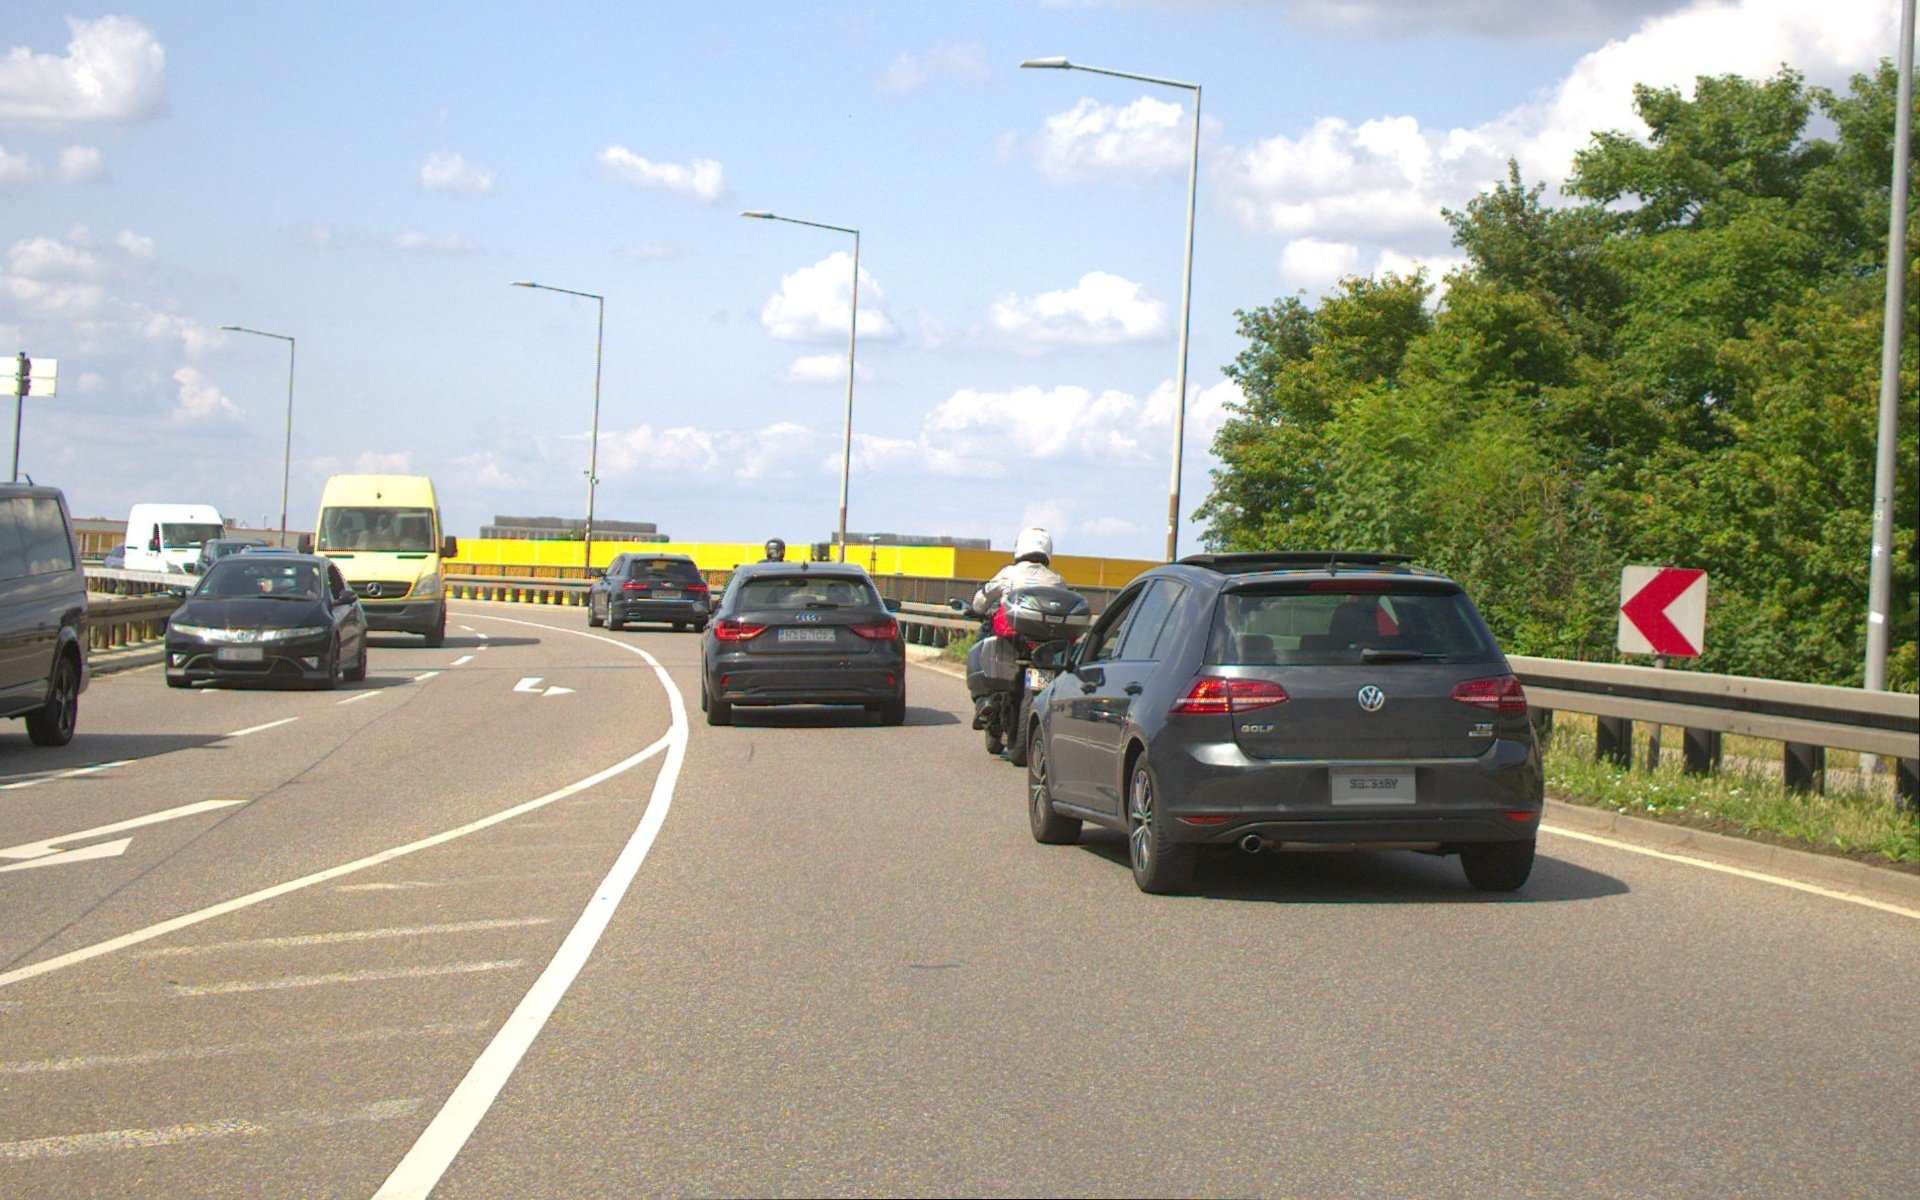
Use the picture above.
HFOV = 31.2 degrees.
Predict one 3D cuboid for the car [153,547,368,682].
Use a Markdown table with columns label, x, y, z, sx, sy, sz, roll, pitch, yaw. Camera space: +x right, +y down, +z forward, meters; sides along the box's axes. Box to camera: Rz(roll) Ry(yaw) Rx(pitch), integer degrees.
| label | x | y | z | sx | sy | sz | roll | pitch | yaw |
| --- | --- | --- | --- | --- | --- | --- | --- | --- | --- |
| car | -7.603 | 0.119 | 37.672 | 1.798 | 1.384 | 4.007 | 0 | 1 | -4 |

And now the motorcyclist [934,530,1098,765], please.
| label | x | y | z | sx | sy | sz | roll | pitch | yaw |
| --- | --- | --- | --- | --- | --- | --- | --- | --- | --- |
| motorcyclist | 0.389 | 0.328 | 24.532 | 0.965 | 1.615 | 1.125 | 2 | 0 | -8 |

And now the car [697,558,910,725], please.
| label | x | y | z | sx | sy | sz | roll | pitch | yaw |
| --- | --- | --- | --- | --- | --- | --- | --- | --- | --- |
| car | -1.439 | 0.351 | 30.462 | 1.681 | 1.383 | 3.740 | 0 | 0 | -6 |

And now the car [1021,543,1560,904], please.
| label | x | y | z | sx | sy | sz | roll | pitch | yaw |
| --- | --- | --- | --- | --- | --- | --- | --- | --- | --- |
| car | 1.416 | 0.504 | 16.202 | 1.642 | 1.474 | 3.873 | 1 | 0 | -8 |

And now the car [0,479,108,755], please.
| label | x | y | z | sx | sy | sz | roll | pitch | yaw |
| --- | --- | --- | --- | --- | --- | --- | --- | --- | --- |
| car | -7.615 | 0.112 | 23.878 | 1.993 | 1.907 | 5.132 | 0 | 1 | 2 |

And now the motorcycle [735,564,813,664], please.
| label | x | y | z | sx | sy | sz | roll | pitch | yaw |
| --- | --- | --- | --- | --- | --- | --- | --- | --- | --- |
| motorcycle | -2.457 | 0.162 | 45.187 | 0.887 | 1.243 | 2.400 | 1 | 1 | -5 |

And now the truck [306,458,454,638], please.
| label | x | y | z | sx | sy | sz | roll | pitch | yaw |
| --- | --- | --- | --- | --- | --- | --- | --- | --- | --- |
| truck | -9.036 | -0.823 | 53.245 | 1.993 | 2.612 | 6.106 | -1 | 1 | -12 |

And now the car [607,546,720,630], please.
| label | x | y | z | sx | sy | sz | roll | pitch | yaw |
| --- | --- | --- | --- | --- | --- | --- | --- | --- | --- |
| car | -5.548 | -0.235 | 64.046 | 1.642 | 1.474 | 3.873 | 1 | 0 | -11 |

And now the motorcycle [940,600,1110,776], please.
| label | x | y | z | sx | sy | sz | roll | pitch | yaw |
| --- | --- | --- | --- | --- | --- | --- | --- | --- | --- |
| motorcycle | 0.433 | 0.595 | 24.315 | 0.789 | 1.128 | 2.400 | 1 | 1 | -8 |

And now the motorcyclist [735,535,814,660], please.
| label | x | y | z | sx | sy | sz | roll | pitch | yaw |
| --- | --- | --- | --- | --- | --- | --- | --- | --- | --- |
| motorcyclist | -2.438 | -0.041 | 45.096 | 0.966 | 1.590 | 1.125 | 2 | 0 | -5 |

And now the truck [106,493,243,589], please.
| label | x | y | z | sx | sy | sz | roll | pitch | yaw |
| --- | --- | --- | --- | --- | --- | --- | --- | --- | --- |
| truck | -21.350 | -1.613 | 93.260 | 1.993 | 2.499 | 5.948 | 0 | 1 | -29 |
